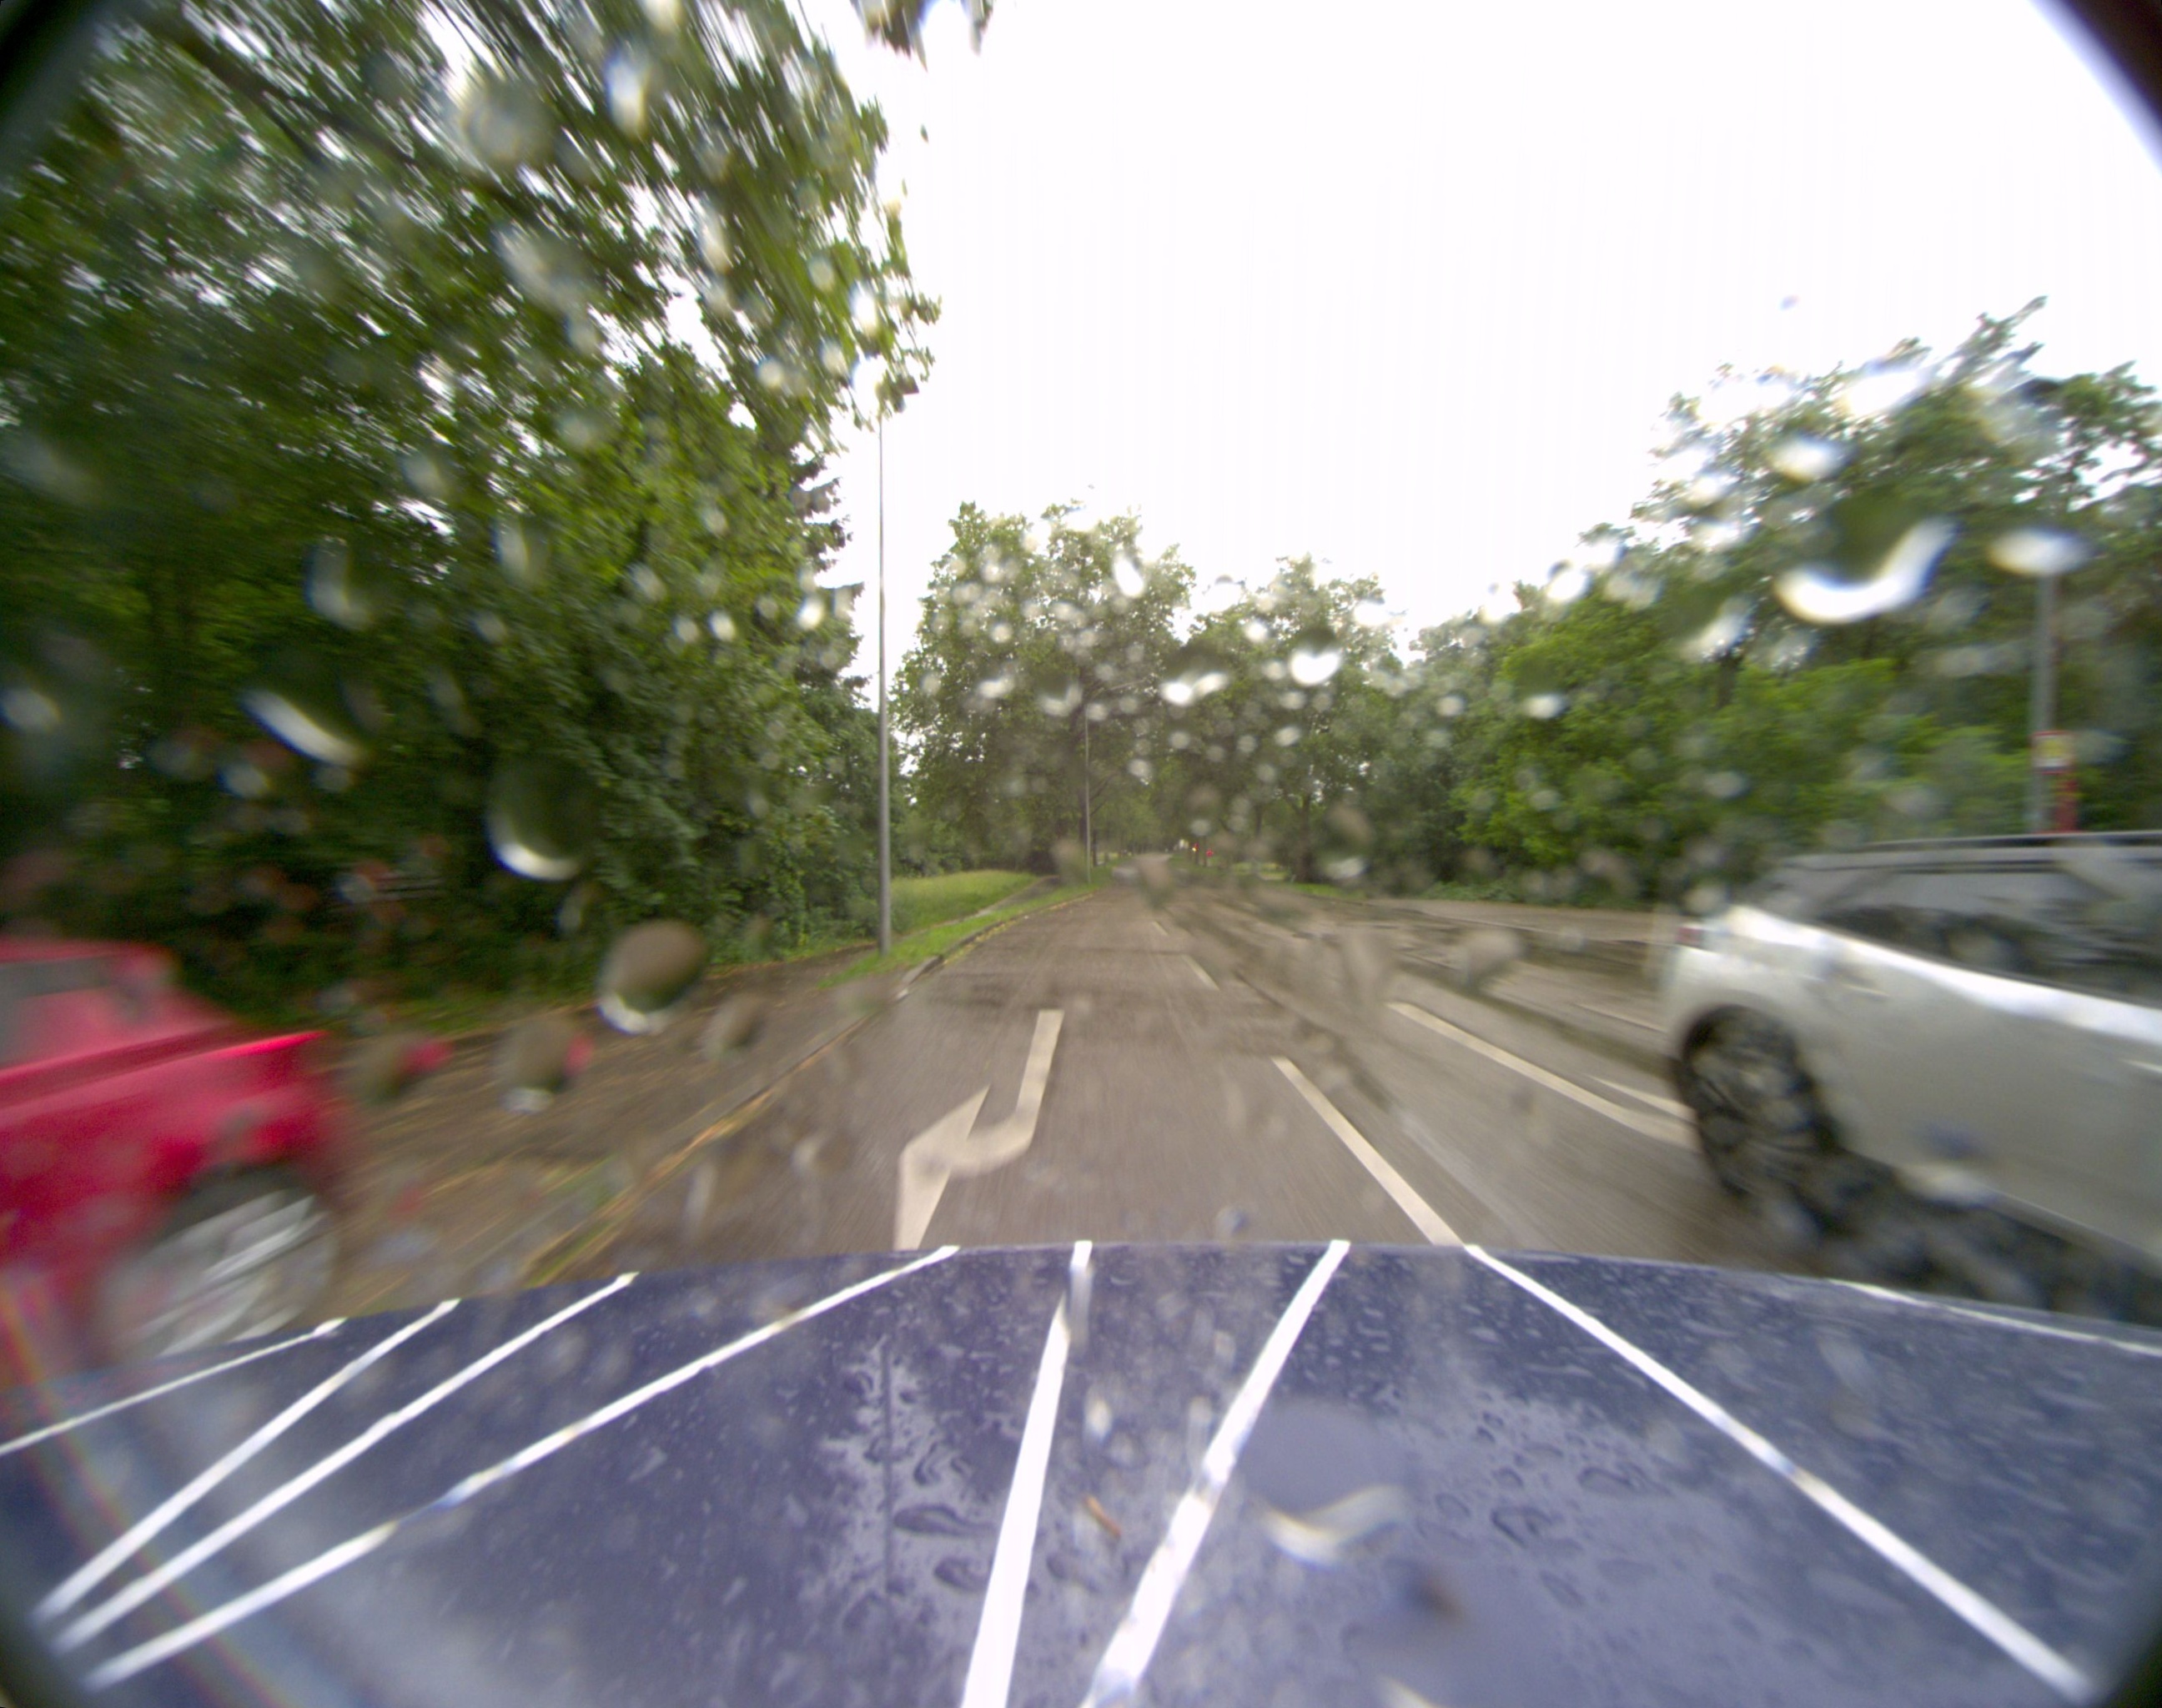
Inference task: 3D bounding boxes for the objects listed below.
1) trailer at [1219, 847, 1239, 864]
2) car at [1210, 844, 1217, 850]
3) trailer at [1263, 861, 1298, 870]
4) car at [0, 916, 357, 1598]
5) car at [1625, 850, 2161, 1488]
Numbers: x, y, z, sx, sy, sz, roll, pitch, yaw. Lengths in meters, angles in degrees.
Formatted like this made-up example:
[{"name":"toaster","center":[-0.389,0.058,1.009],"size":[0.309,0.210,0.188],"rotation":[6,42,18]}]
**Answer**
[{"name":"trailer","center":[24.464,0.229,125.726],"size":[2.803,2.649,6.654],"rotation":[1,2,7]},{"name":"car","center":[45.240,-2.402,259.513],"size":[1.895,1.673,4.005],"rotation":[2,2,19]},{"name":"trailer","center":[28.152,1.611,107.259],"size":[4.326,1.026,2.382],"rotation":[1,2,4]},{"name":"car","center":[-3.442,1.029,0.707],"size":[1.824,1.508,3.743],"rotation":[-7,-1,-1]},{"name":"car","center":[3.468,0.769,1.480],"size":[1.756,1.527,4.367],"rotation":[1,0,2]}]
